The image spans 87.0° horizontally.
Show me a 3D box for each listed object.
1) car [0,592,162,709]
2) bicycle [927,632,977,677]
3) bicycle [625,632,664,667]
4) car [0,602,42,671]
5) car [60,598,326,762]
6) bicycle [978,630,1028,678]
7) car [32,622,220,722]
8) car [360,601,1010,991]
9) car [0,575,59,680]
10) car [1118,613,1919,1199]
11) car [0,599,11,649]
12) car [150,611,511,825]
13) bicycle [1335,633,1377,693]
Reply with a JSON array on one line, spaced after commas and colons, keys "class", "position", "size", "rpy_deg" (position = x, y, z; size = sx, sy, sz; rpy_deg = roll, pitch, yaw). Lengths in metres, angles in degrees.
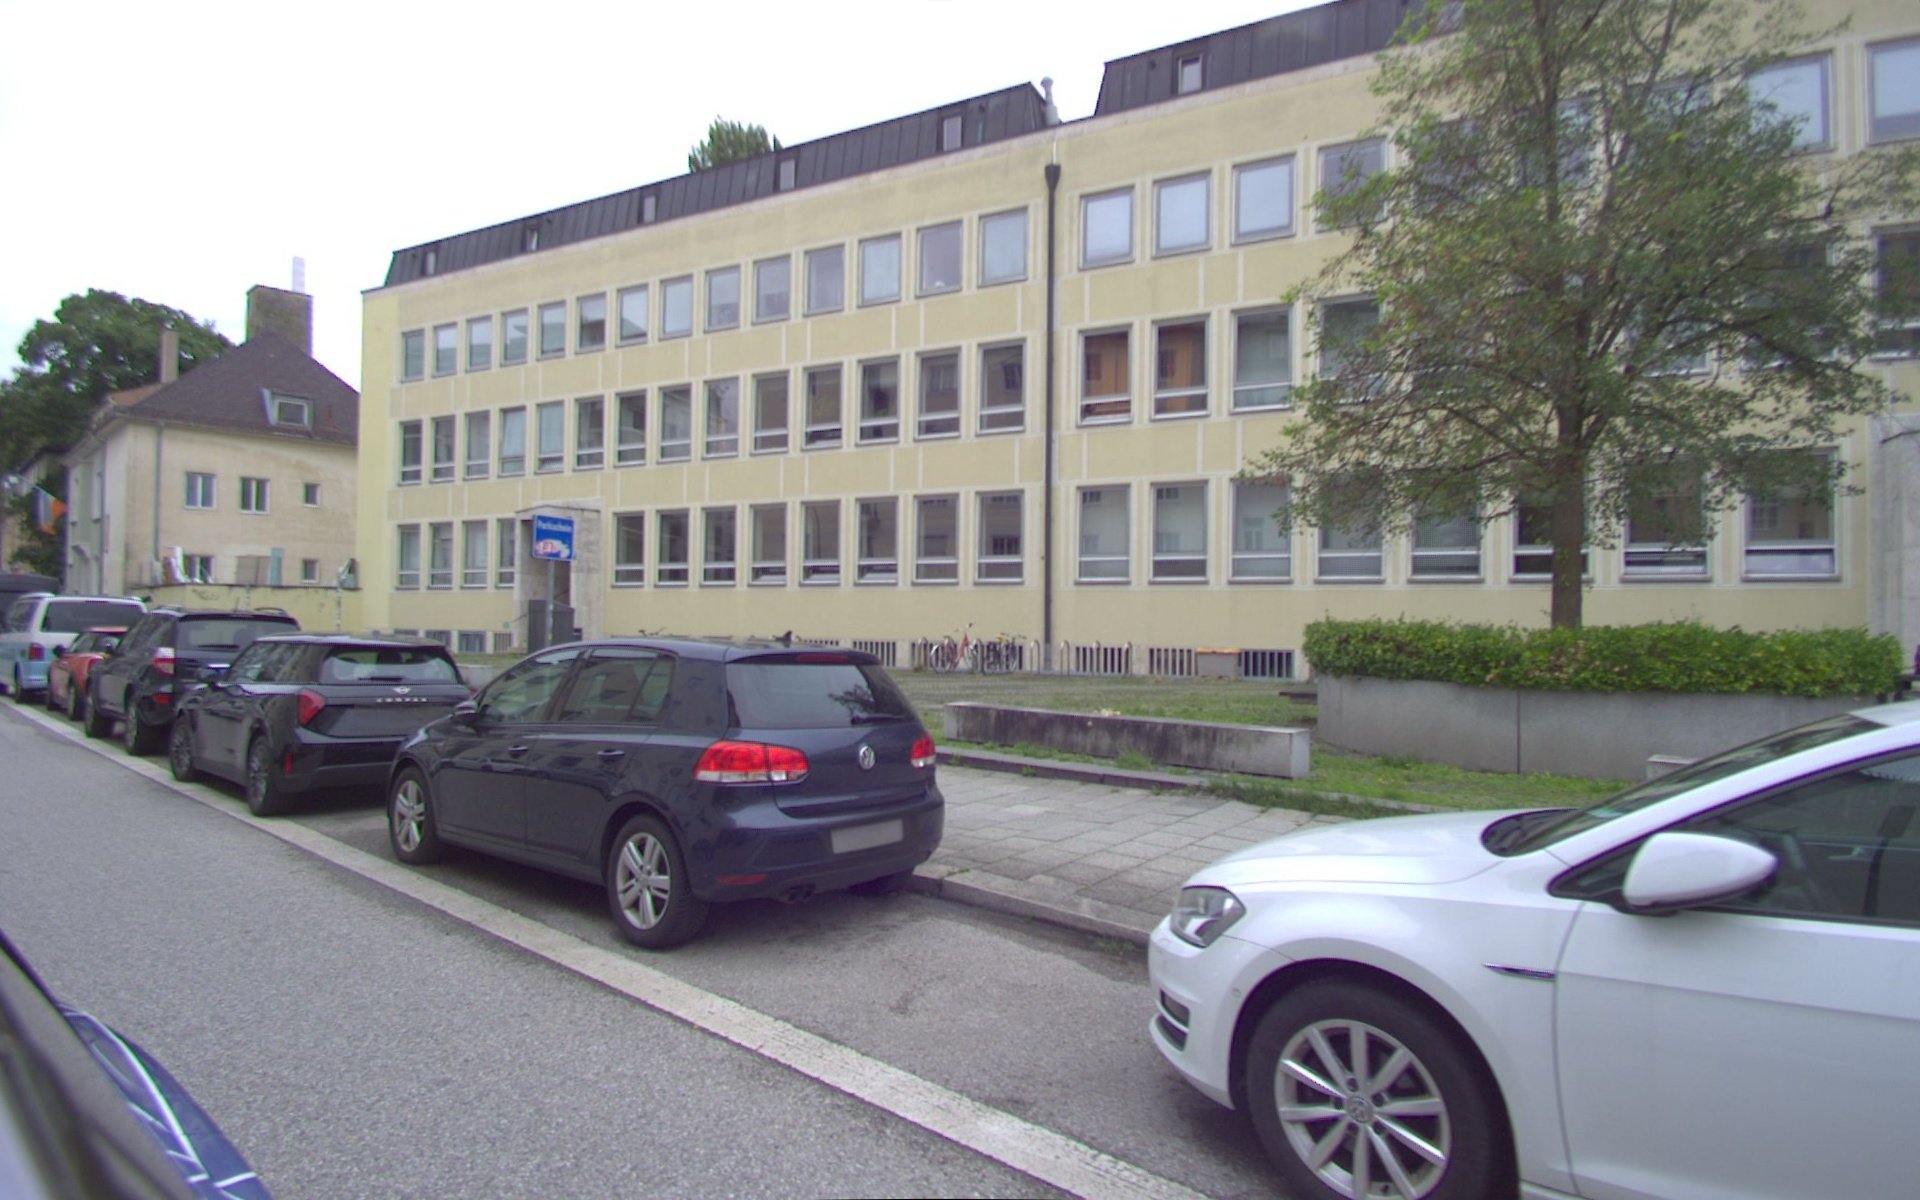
[{"class": "car", "position": [-17.025, 0.900, 19.257], "size": [4.351, 1.991, 1.925], "rpy_deg": [0, -3, 39]}, {"class": "bicycle", "position": [-0.184, 1.298, 24.532], "size": [0.388, 0.997, 1.721], "rpy_deg": [0, 0, 30]}, {"class": "bicycle", "position": [-8.965, 1.405, 28.829], "size": [0.287, 0.909, 1.232], "rpy_deg": [0, 0, 26]}, {"class": "car", "position": [-31.183, 1.115, 32.387], "size": [4.958, 2.098, 2.186], "rpy_deg": [0, 0, 42]}, {"class": "car", "position": [-9.600, 0.877, 12.556], "size": [4.120, 1.701, 1.722], "rpy_deg": [0, -3, 40]}, {"class": "bicycle", "position": [1.014, 1.239, 23.586], "size": [0.388, 0.997, 1.721], "rpy_deg": [0, 0, 30]}, {"class": "car", "position": [-13.571, 1.104, 16.416], "size": [3.453, 1.415, 1.722], "rpy_deg": [0, -3, 40]}, {"class": "car", "position": [-1.844, 0.795, 6.050], "size": [4.079, 1.557, 1.723], "rpy_deg": [0, 0, 40]}, {"class": "car", "position": [-26.735, 0.730, 28.146], "size": [4.958, 2.738, 1.972], "rpy_deg": [0, 0, 42]}, {"class": "car", "position": [2.547, 0.843, 2.330], "size": [3.996, 1.541, 1.704], "rpy_deg": [0, -3, 39]}, {"class": "car", "position": [-43.176, 1.043, 44.136], "size": [4.958, 2.098, 2.186], "rpy_deg": [0, 0, 42]}, {"class": "car", "position": [-5.756, 0.866, 9.102], "size": [3.683, 1.478, 1.722], "rpy_deg": [0, 0, 40]}, {"class": "bicycle", "position": [7.835, 1.206, 19.982], "size": [0.640, 1.036, 2.178], "rpy_deg": [0, 0, 25]}]
